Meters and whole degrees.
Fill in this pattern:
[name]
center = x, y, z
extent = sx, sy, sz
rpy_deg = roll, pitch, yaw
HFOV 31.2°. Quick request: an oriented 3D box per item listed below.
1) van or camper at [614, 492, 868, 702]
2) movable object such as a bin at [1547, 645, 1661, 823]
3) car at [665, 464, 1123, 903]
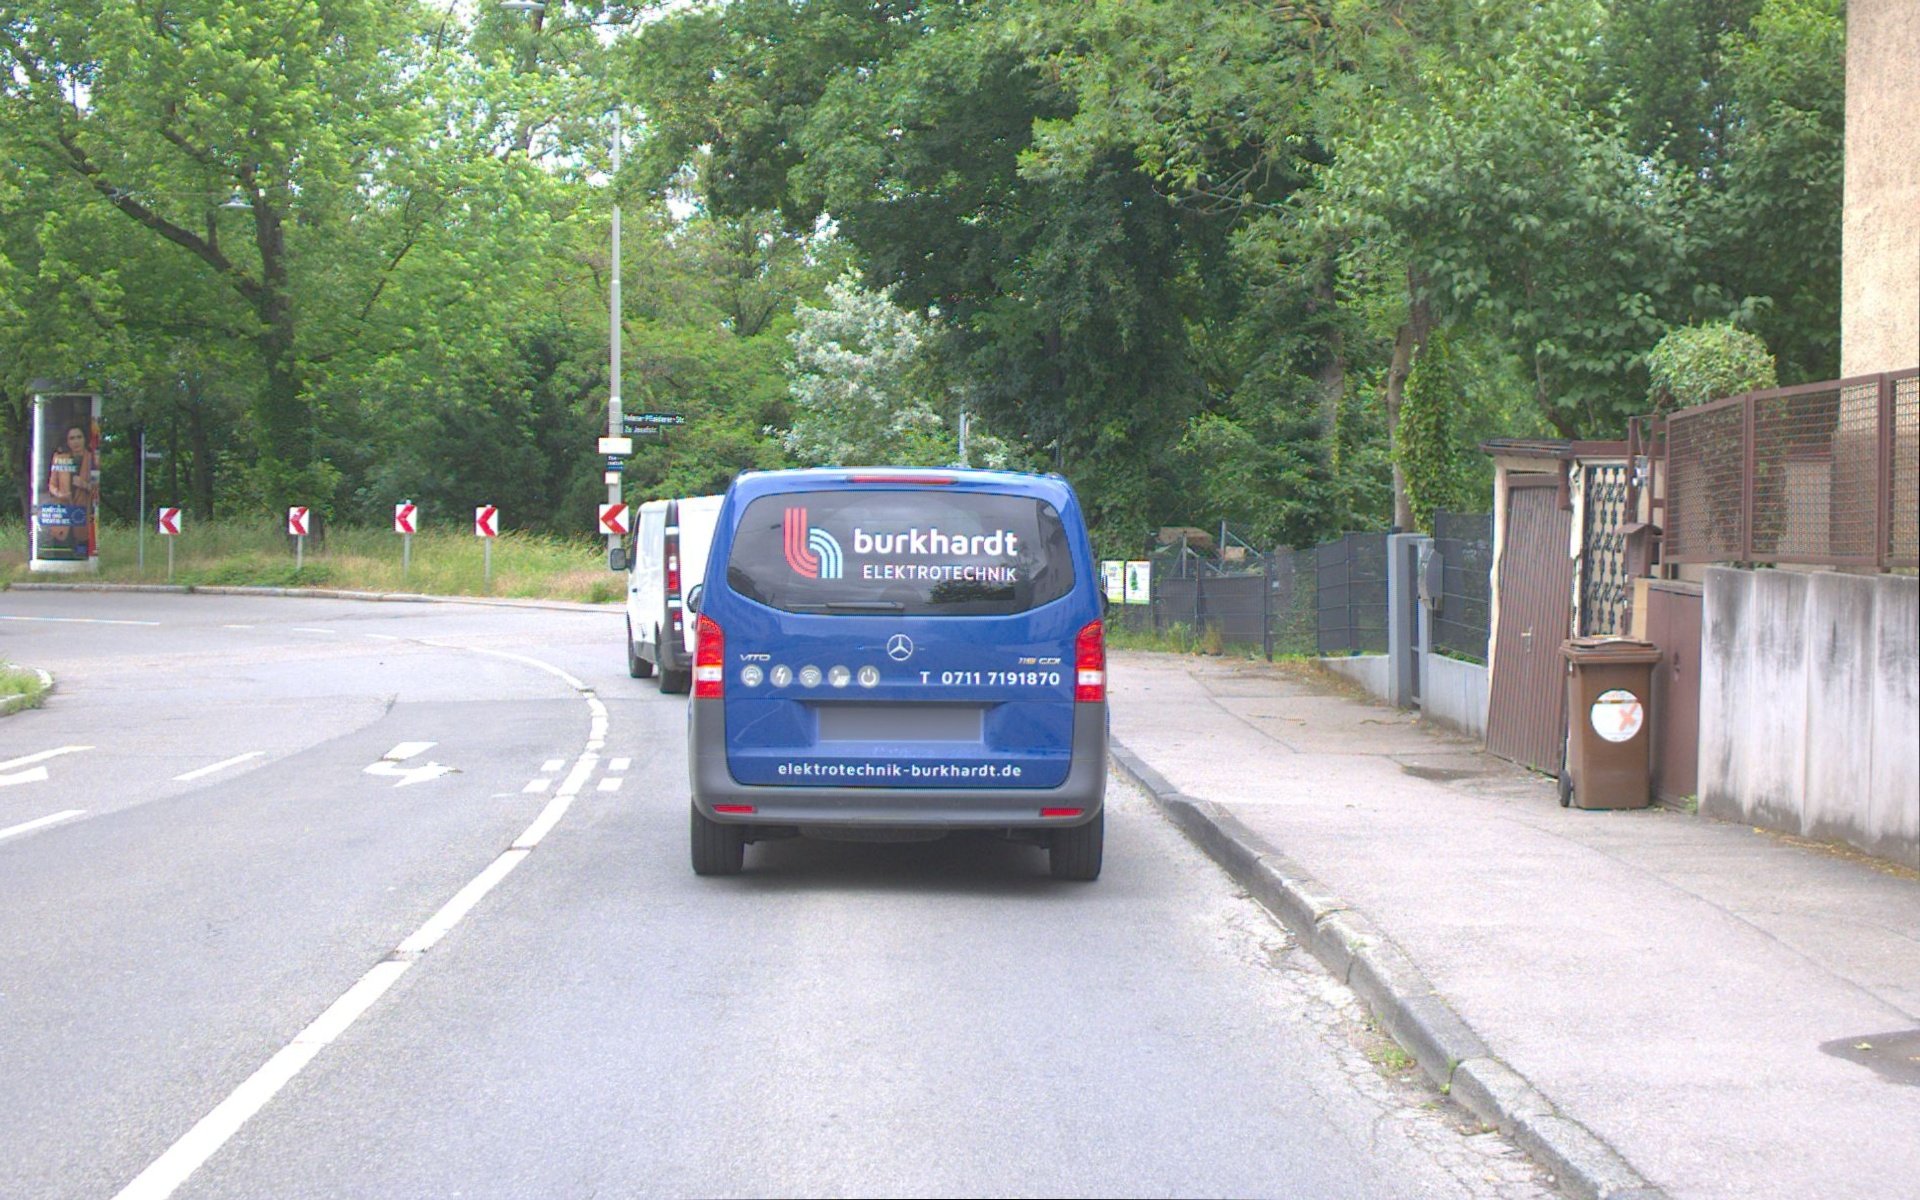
[van or camper]
center = -2.327, -0.097, 35.211
extent = 2.019, 1.950, 4.898
rpy_deg = -1, 2, -10
[movable object such as a bin]
center = 3.488, 0.720, 18.654
extent = 0.461, 0.921, 0.566
rpy_deg = -2, 1, -3
[car]
center = -0.424, 0.320, 16.774
extent = 1.913, 1.831, 4.294
rpy_deg = 1, 1, -4
